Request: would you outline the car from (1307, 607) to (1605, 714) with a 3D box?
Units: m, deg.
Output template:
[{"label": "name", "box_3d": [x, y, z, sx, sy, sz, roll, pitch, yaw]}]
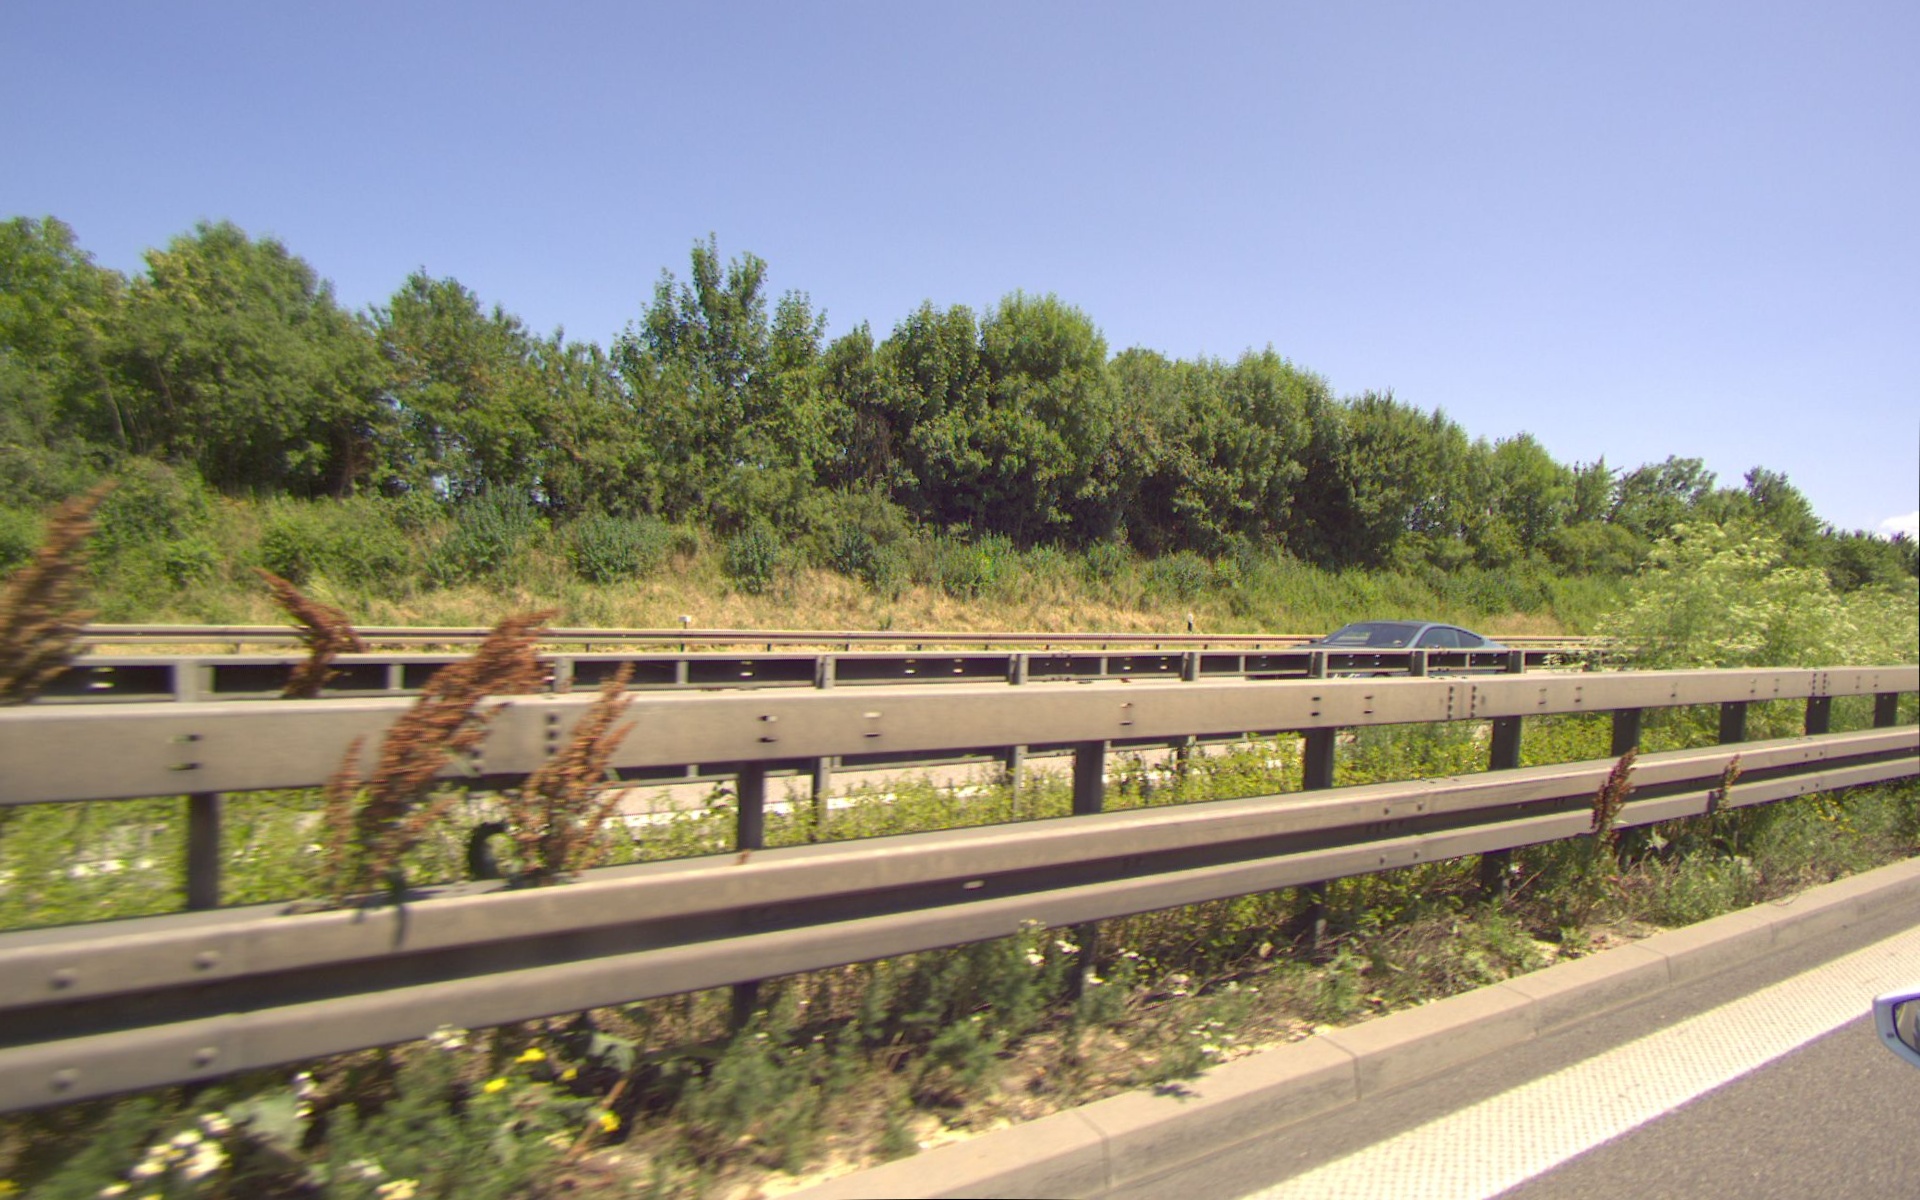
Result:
[{"label": "car", "box_3d": [7.558, 0.850, 15.191, 4.614, 1.370, 1.849, 1, 0, -31]}]
